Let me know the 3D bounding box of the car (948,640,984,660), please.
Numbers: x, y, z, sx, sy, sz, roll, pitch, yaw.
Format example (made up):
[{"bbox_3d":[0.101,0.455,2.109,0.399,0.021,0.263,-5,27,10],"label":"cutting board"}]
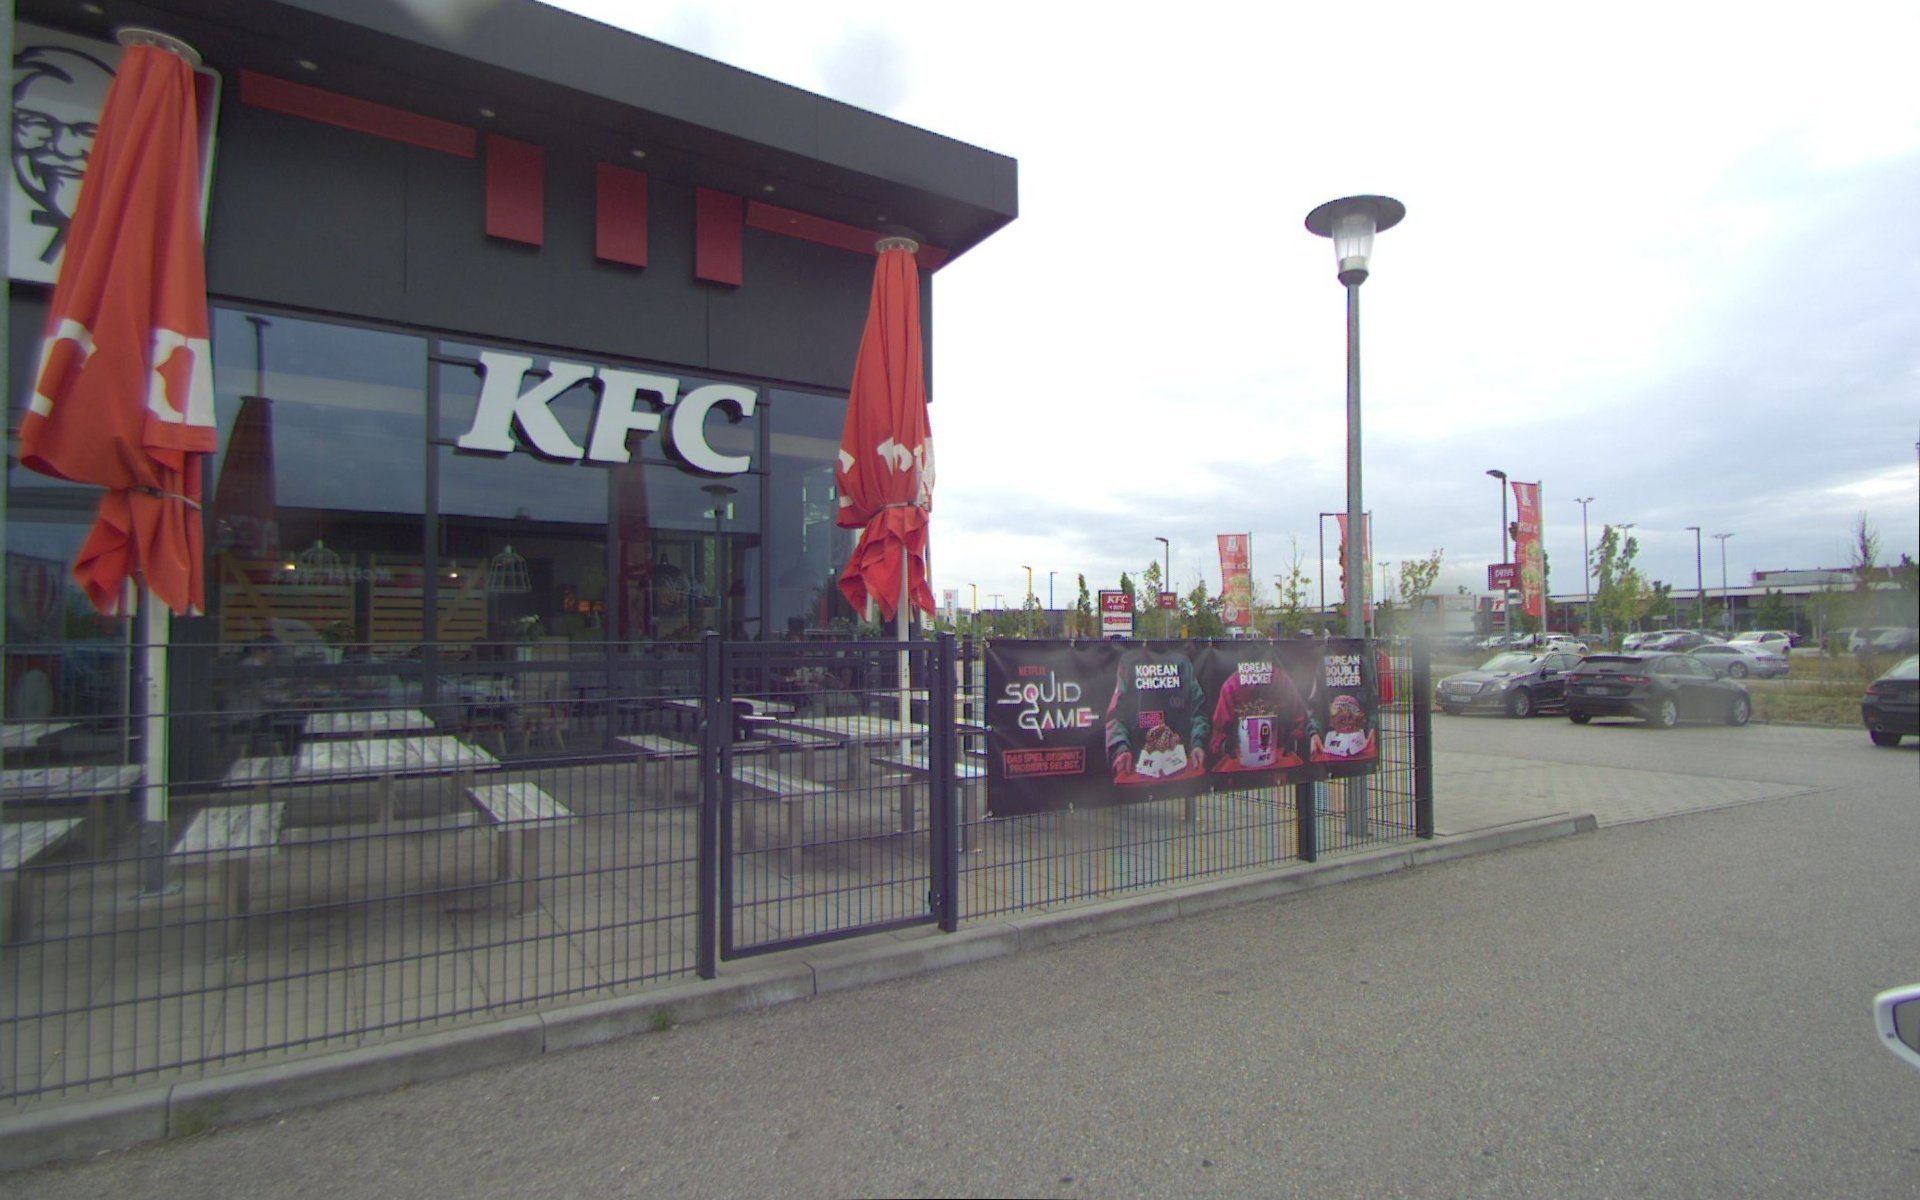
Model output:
[{"bbox_3d":[0.419,3.844,77.293,1.727,1.488,4.465,1,-2,-13],"label":"car"}]

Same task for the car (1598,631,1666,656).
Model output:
[{"bbox_3d":[45.614,2.945,68.186,3.990,1.560,1.765,-1,-2,-18],"label":"car"}]

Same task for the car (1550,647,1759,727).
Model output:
[{"bbox_3d":[13.917,1.715,20.106,4.021,1.430,1.874,3,-3,-29],"label":"car"}]

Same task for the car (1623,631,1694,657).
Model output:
[{"bbox_3d":[45.784,2.864,65.820,3.990,1.560,1.765,-1,-2,-18],"label":"car"}]

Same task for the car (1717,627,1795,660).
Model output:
[{"bbox_3d":[47.705,2.606,60.167,4.264,1.795,1.987,-1,-2,-26],"label":"car"}]

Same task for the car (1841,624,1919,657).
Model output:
[{"bbox_3d":[53.343,2.290,57.467,1.965,1.795,3.992,-1,-2,-12],"label":"car"}]

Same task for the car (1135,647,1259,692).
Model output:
[{"bbox_3d":[7.978,2.340,33.866,3.751,1.430,1.731,2,-3,-20],"label":"car"}]

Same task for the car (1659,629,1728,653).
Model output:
[{"bbox_3d":[60.517,3.360,82.905,1.975,1.862,4.157,-1,-2,-28],"label":"car"}]

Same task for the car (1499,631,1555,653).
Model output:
[{"bbox_3d":[43.976,3.249,77.899,3.707,1.560,1.764,-1,-2,-21],"label":"car"}]

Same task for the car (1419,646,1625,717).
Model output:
[{"bbox_3d":[12.902,1.847,22.997,4.683,1.475,1.898,3,-3,-28],"label":"car"}]

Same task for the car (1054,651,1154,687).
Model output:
[{"bbox_3d":[6.203,2.987,43.461,3.932,1.447,1.723,2,-2,-14],"label":"car"}]

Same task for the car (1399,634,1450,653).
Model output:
[{"bbox_3d":[41.745,3.893,90.311,3.994,1.560,1.899,-1,-2,-21],"label":"car"}]

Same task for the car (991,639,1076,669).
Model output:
[{"bbox_3d":[3.835,2.832,53.005,4.142,1.564,1.861,1,-2,-12],"label":"car"}]

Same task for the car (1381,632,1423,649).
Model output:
[{"bbox_3d":[51.698,4.764,117.566,1.974,1.862,4.159,-1,-2,-27],"label":"car"}]

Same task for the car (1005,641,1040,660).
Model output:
[{"bbox_3d":[7.328,5.966,118.353,1.973,2.114,5.199,0,-2,-25],"label":"car"}]

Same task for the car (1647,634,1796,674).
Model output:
[{"bbox_3d":[32.671,2.295,43.264,1.778,1.572,4.825,-1,-2,-25],"label":"car"}]

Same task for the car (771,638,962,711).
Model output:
[{"bbox_3d":[-2.064,1.658,22.572,3.896,1.506,1.744,3,-3,-32],"label":"car"}]

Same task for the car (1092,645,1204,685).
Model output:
[{"bbox_3d":[7.276,2.511,38.953,3.876,1.430,1.834,2,-3,-17],"label":"car"}]

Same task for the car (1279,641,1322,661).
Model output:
[{"bbox_3d":[25.471,3.813,75.236,1.408,1.388,3.452,-1,-2,-12],"label":"car"}]

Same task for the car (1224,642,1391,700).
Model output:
[{"bbox_3d":[10.165,2.069,29.396,4.480,1.561,1.916,3,-3,-22],"label":"car"}]

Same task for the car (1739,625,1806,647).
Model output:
[{"bbox_3d":[72.382,3.225,89.526,1.975,1.862,4.157,-1,-2,-28],"label":"car"}]

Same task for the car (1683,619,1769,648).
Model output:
[{"bbox_3d":[51.218,2.246,67.286,1.889,1.795,4.310,-1,-2,-14],"label":"car"}]

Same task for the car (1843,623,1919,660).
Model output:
[{"bbox_3d":[49.343,2.188,53.222,4.253,1.795,1.924,-1,-2,-18],"label":"car"}]

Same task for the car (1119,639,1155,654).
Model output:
[{"bbox_3d":[16.696,4.387,95.022,1.740,1.413,4.206,0,-2,-16],"label":"car"}]

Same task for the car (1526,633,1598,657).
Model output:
[{"bbox_3d":[43.340,3.216,72.341,4.084,1.560,1.998,-1,-2,-9],"label":"car"}]

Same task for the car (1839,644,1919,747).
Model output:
[{"bbox_3d":[15.870,1.485,15.611,4.462,1.485,1.933,3,-3,-29],"label":"car"}]

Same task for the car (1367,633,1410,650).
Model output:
[{"bbox_3d":[49.301,4.779,115.686,1.978,1.862,4.150,-1,-2,-32],"label":"car"}]

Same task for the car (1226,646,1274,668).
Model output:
[{"bbox_3d":[21.578,4.207,74.868,1.798,1.479,3.993,-1,-2,-11],"label":"car"}]
